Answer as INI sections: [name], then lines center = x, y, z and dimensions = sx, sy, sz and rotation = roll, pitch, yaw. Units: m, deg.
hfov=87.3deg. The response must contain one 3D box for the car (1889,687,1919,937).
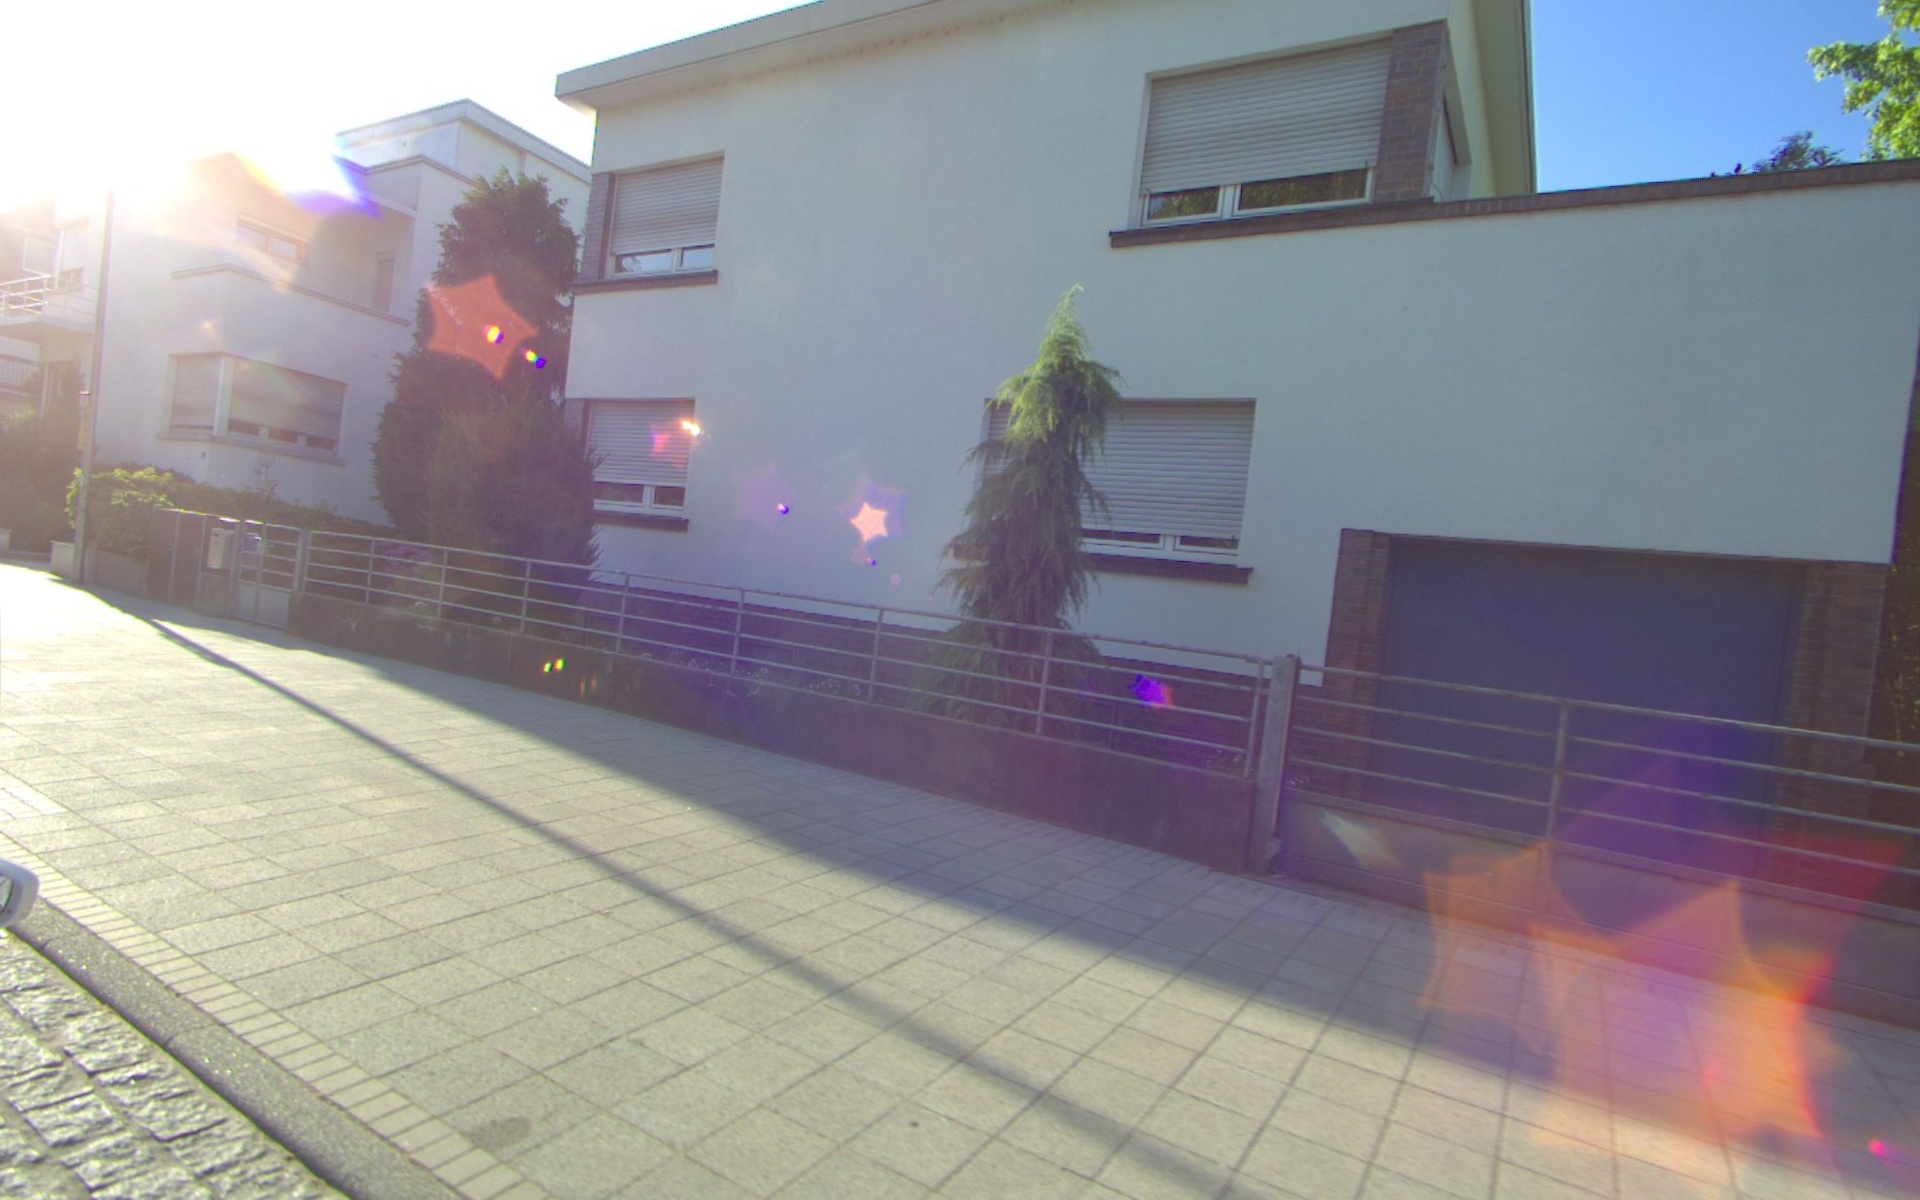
[car]
center = 7.071, 1.432, 6.181
dimensions = 1.619, 1.661, 3.491
rotation = 7, -1, 39
